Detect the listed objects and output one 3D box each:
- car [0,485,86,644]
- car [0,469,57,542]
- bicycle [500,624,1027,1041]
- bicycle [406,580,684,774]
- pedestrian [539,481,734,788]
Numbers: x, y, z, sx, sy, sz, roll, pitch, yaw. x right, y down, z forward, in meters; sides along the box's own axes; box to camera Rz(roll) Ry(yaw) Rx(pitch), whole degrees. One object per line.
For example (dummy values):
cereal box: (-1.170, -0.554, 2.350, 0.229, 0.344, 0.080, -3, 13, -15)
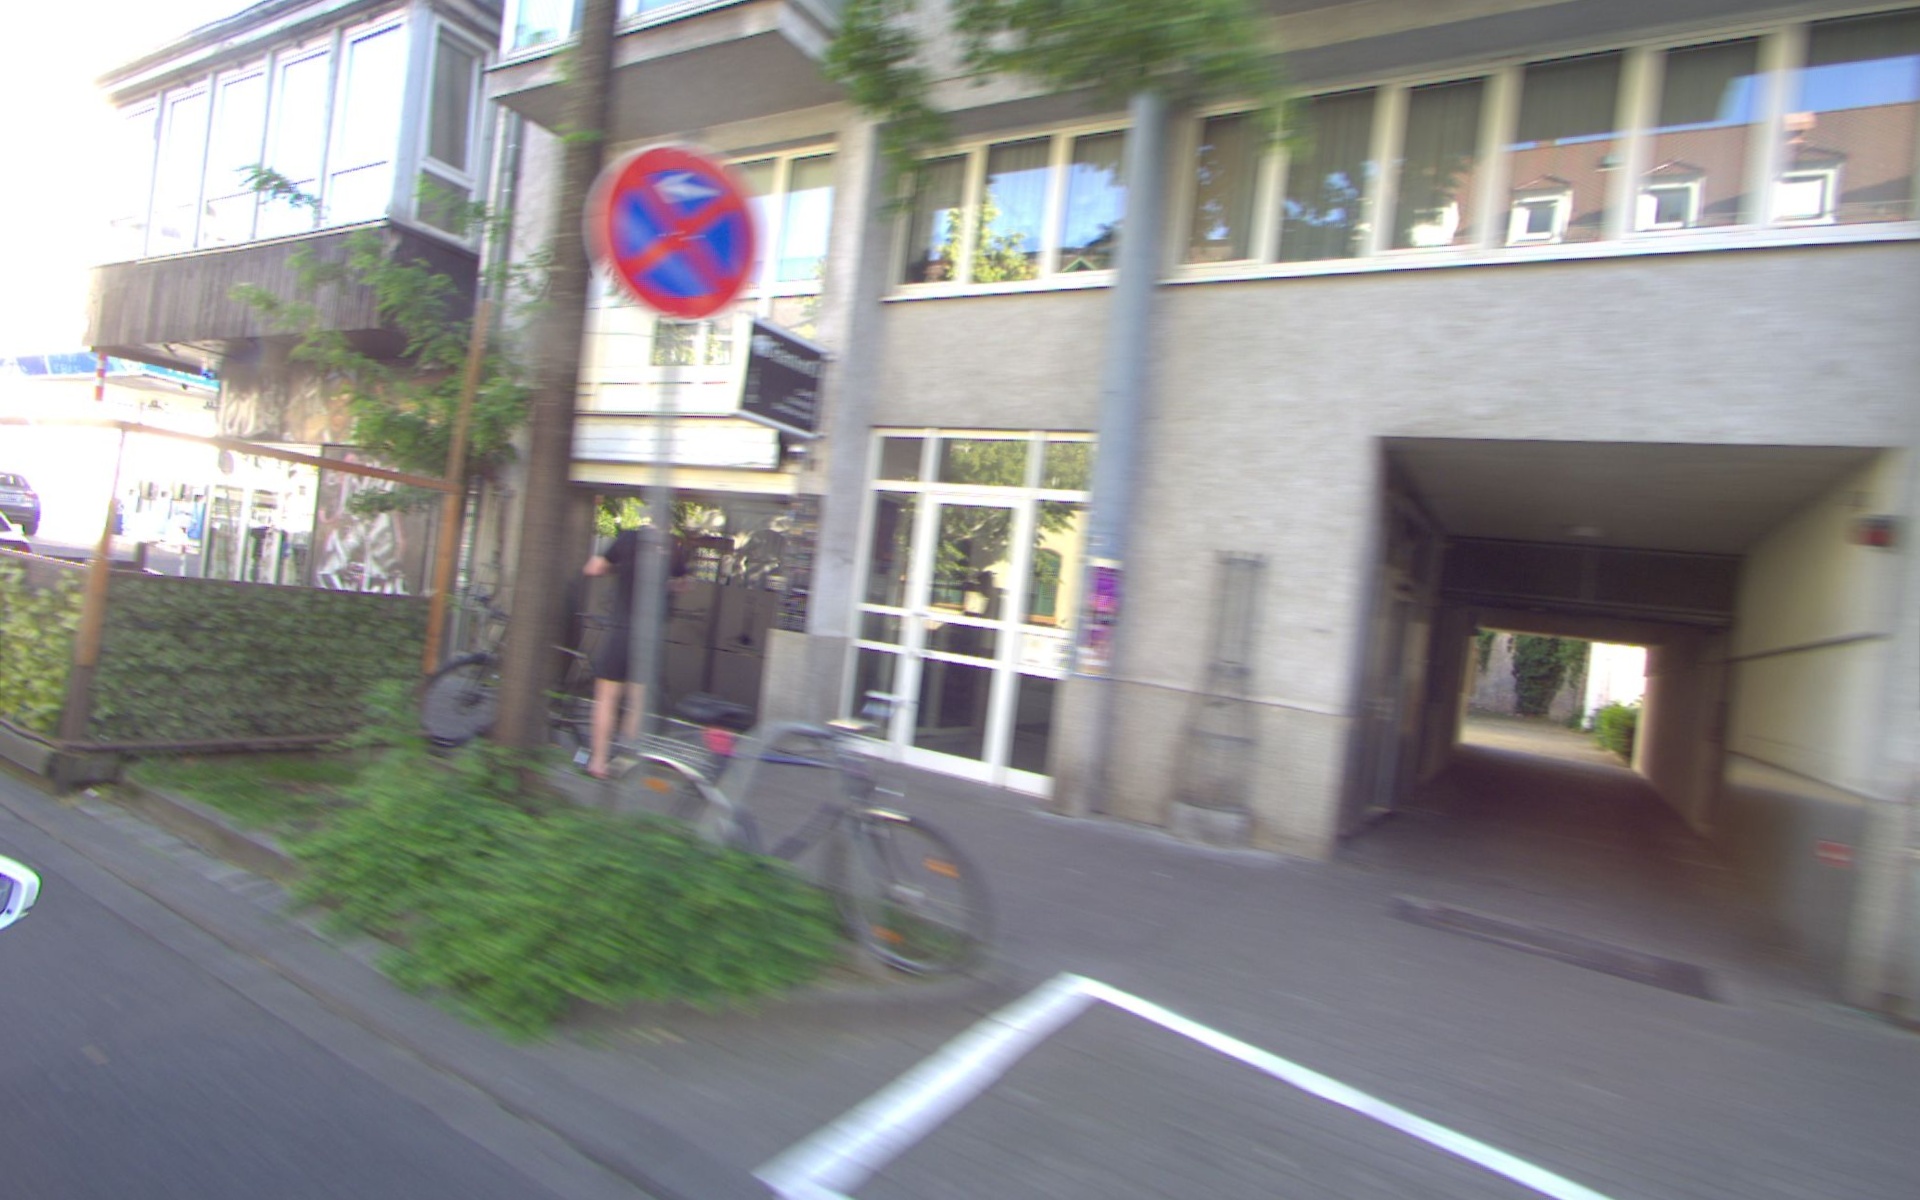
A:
car: (-10.884, -0.569, 10.050, 4.569, 1.430, 1.902, 7, 1, 31)
car: (-25.301, -2.597, 25.913, 4.223, 1.669, 1.902, 7, 0, 33)
bicycle: (-0.830, 0.807, 4.021, 2.018, 1.137, 0.607, 7, 7, 22)
bicycle: (-2.956, 0.547, 7.328, 1.657, 1.163, 0.680, 7, 0, -11)
pedestrian: (-2.254, 0.247, 6.983, 0.919, 1.960, 0.754, 7, 1, -34)
